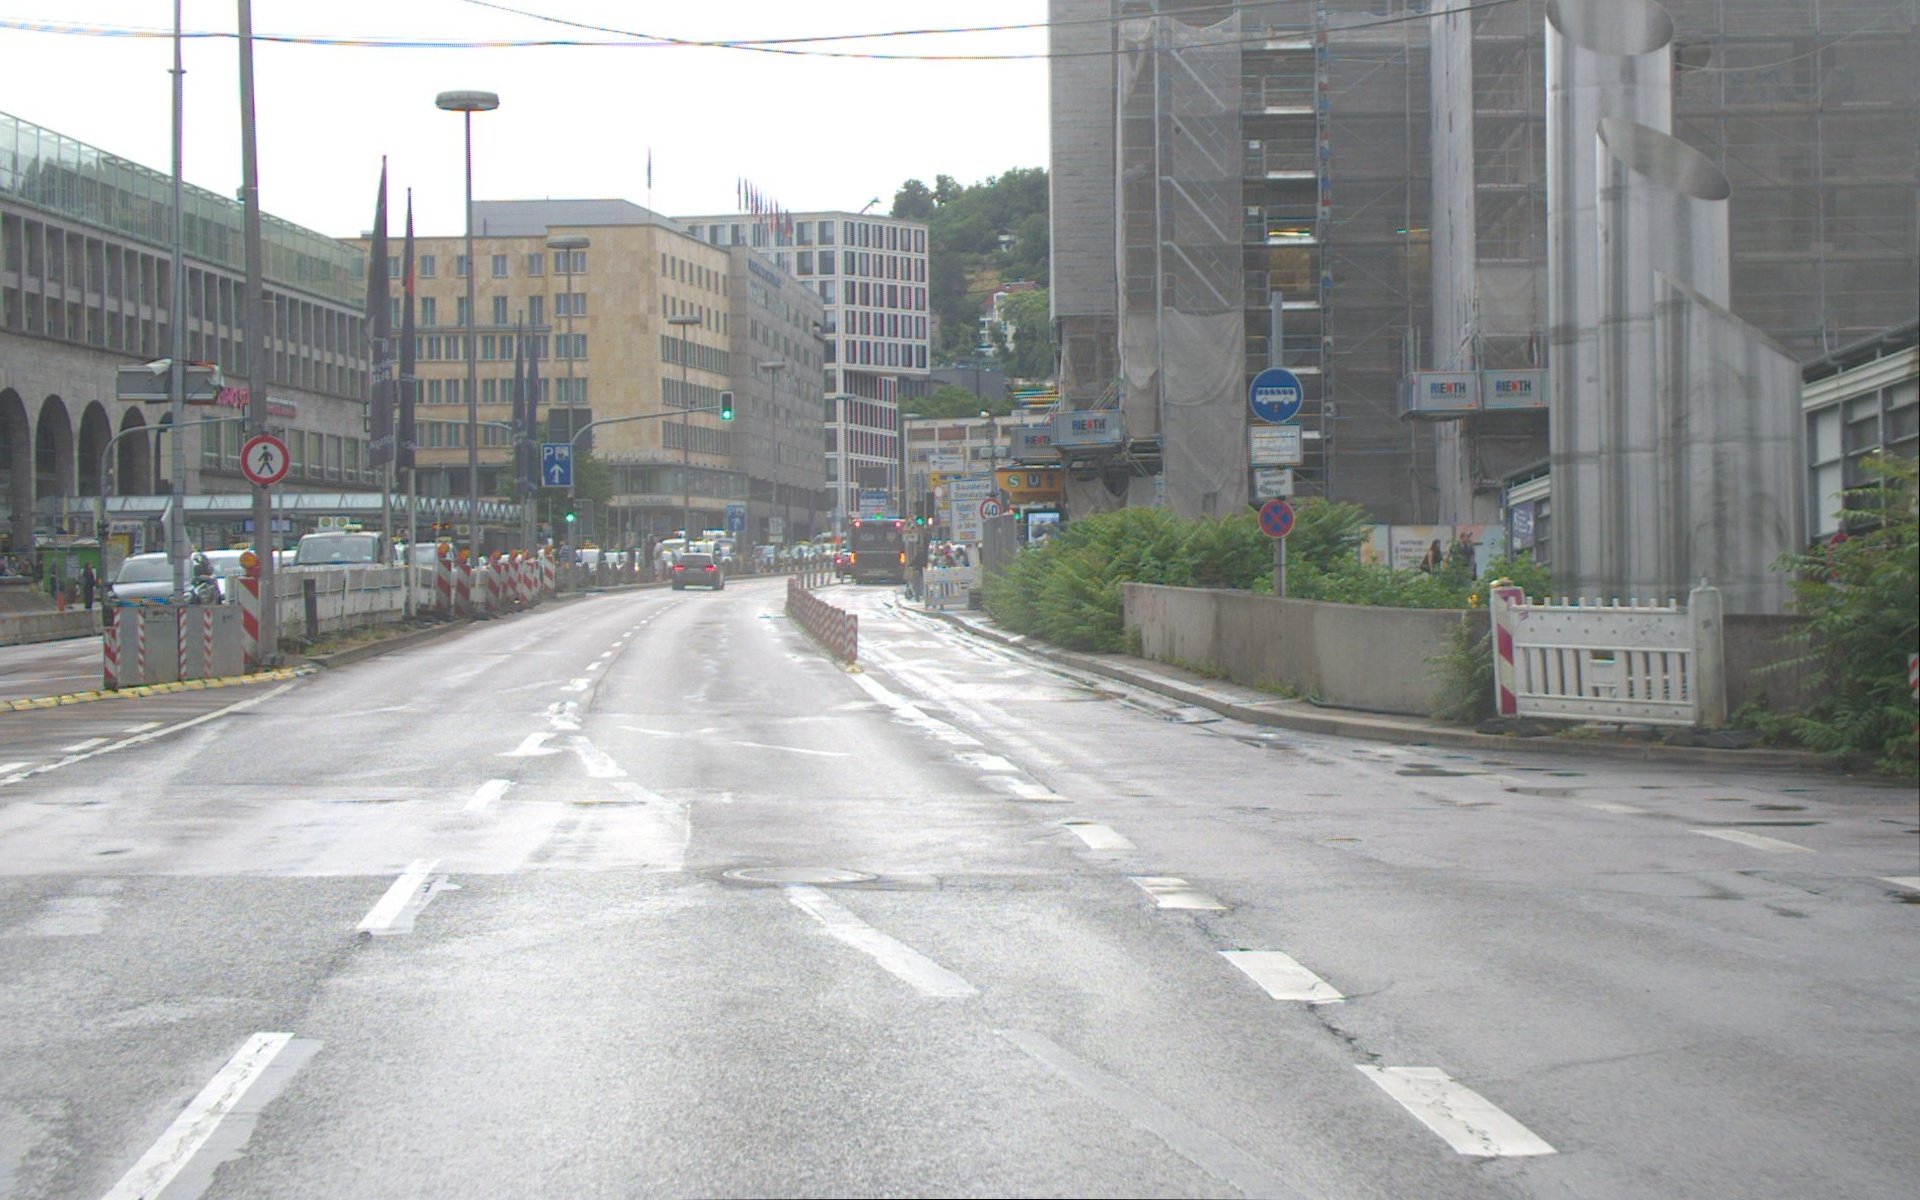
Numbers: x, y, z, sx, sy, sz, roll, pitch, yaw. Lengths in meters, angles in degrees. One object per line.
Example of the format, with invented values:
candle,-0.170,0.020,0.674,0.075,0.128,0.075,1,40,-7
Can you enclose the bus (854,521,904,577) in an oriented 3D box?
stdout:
bus,-3.783,-2.380,161.440,1.994,2.423,3.999,-3,-1,2

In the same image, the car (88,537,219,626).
car,-15.752,-0.338,67.321,1.901,1.523,4.177,-3,-1,-6

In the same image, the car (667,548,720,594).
car,-10.303,-1.094,132.605,1.901,1.523,4.177,-3,-1,-6

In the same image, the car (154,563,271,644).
car,-15.879,0.098,73.194,1.901,1.523,4.177,-3,-1,-6

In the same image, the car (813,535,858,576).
car,-6.899,-2.455,190.653,1.994,2.007,3.999,-3,-1,3

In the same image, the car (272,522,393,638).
car,-12.338,-0.363,67.807,1.901,2.075,4.177,-3,-1,-6
